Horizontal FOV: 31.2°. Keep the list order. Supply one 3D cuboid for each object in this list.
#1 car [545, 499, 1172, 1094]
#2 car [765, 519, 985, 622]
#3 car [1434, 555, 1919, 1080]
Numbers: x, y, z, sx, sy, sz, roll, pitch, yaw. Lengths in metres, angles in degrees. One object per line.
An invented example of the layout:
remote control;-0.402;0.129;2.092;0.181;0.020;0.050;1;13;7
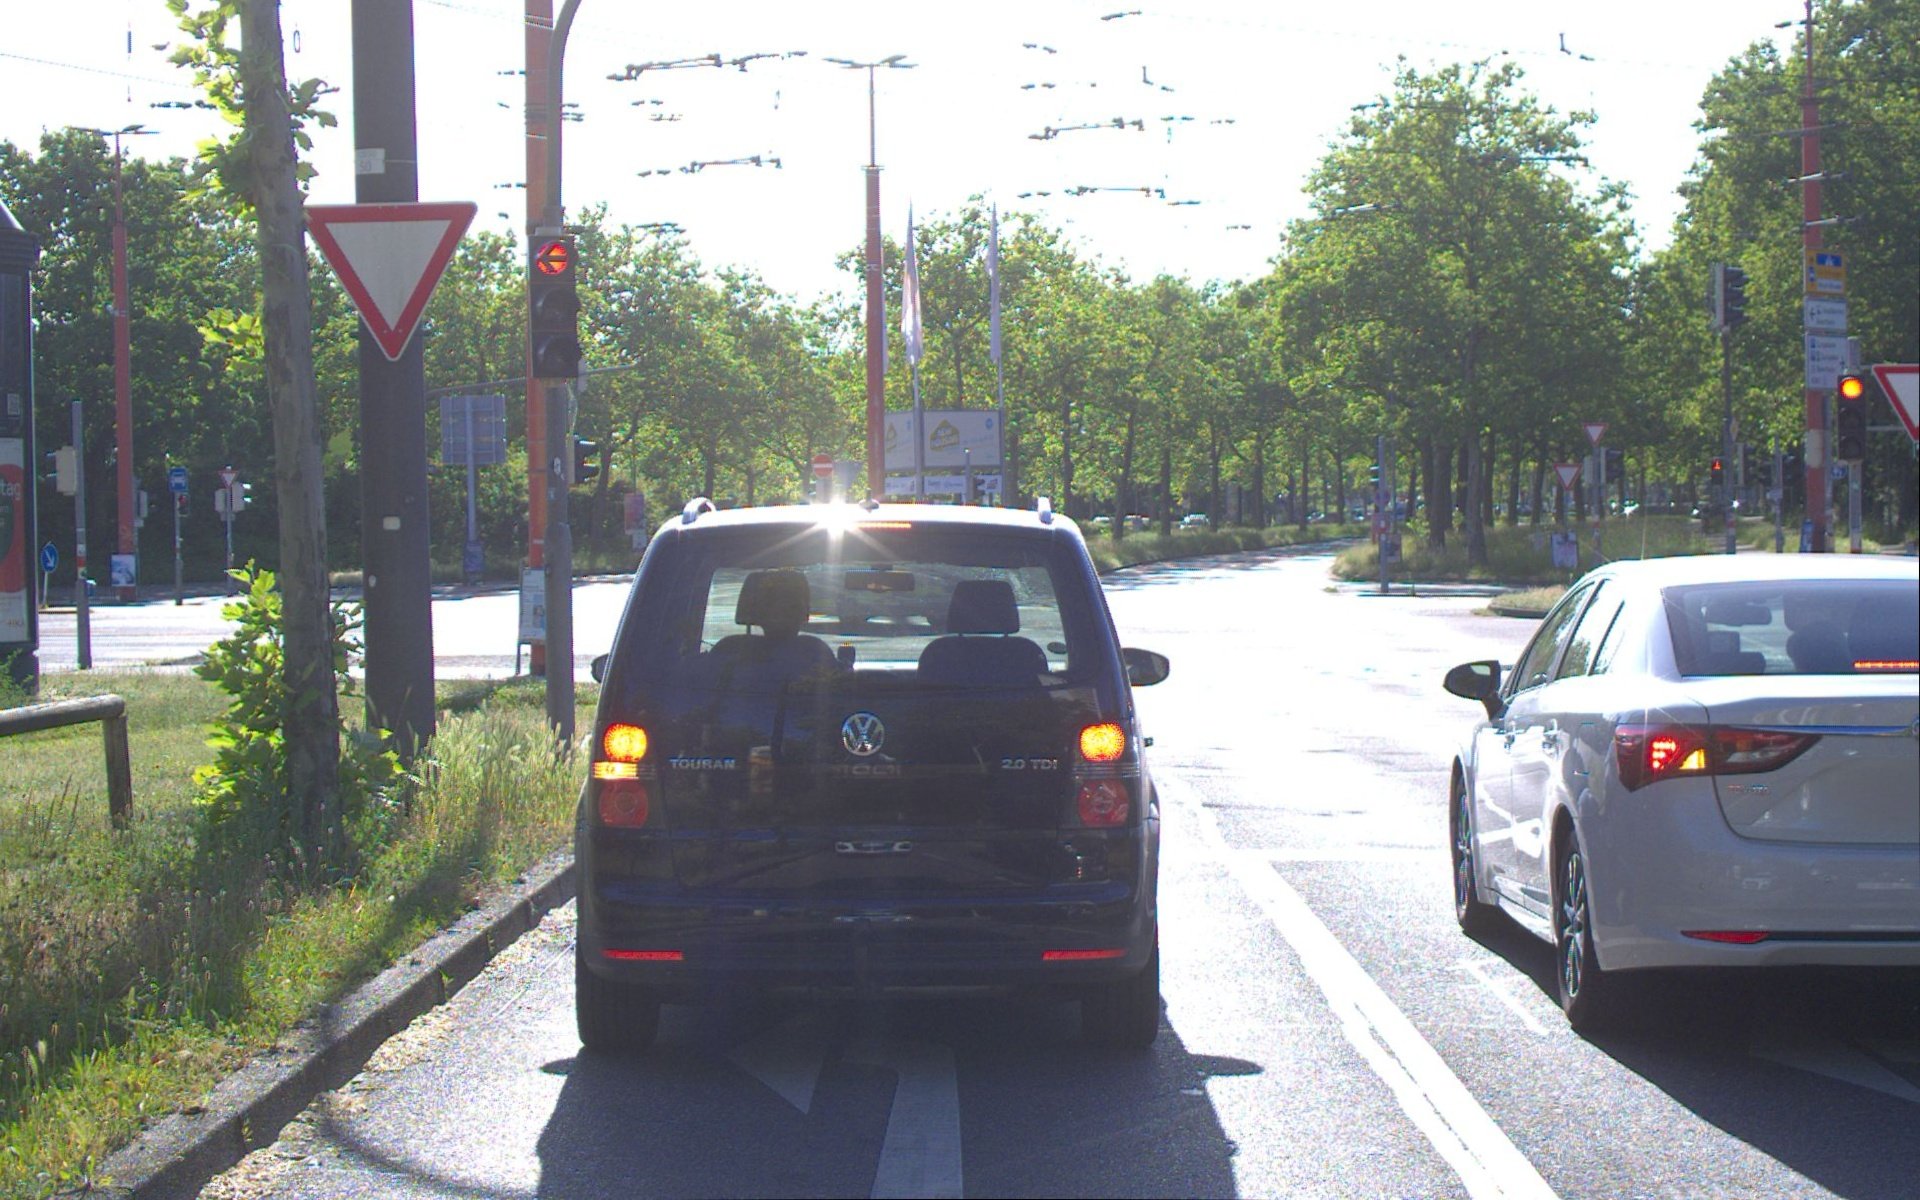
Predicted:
car;-0.303;0.499;11.344;1.700;1.616;3.897;0;1;-1
car;-1.454;-0.509;57.066;1.797;1.650;4.114;-1;1;-32
car;2.724;0.582;11.654;1.720;1.433;4.198;1;1;1
